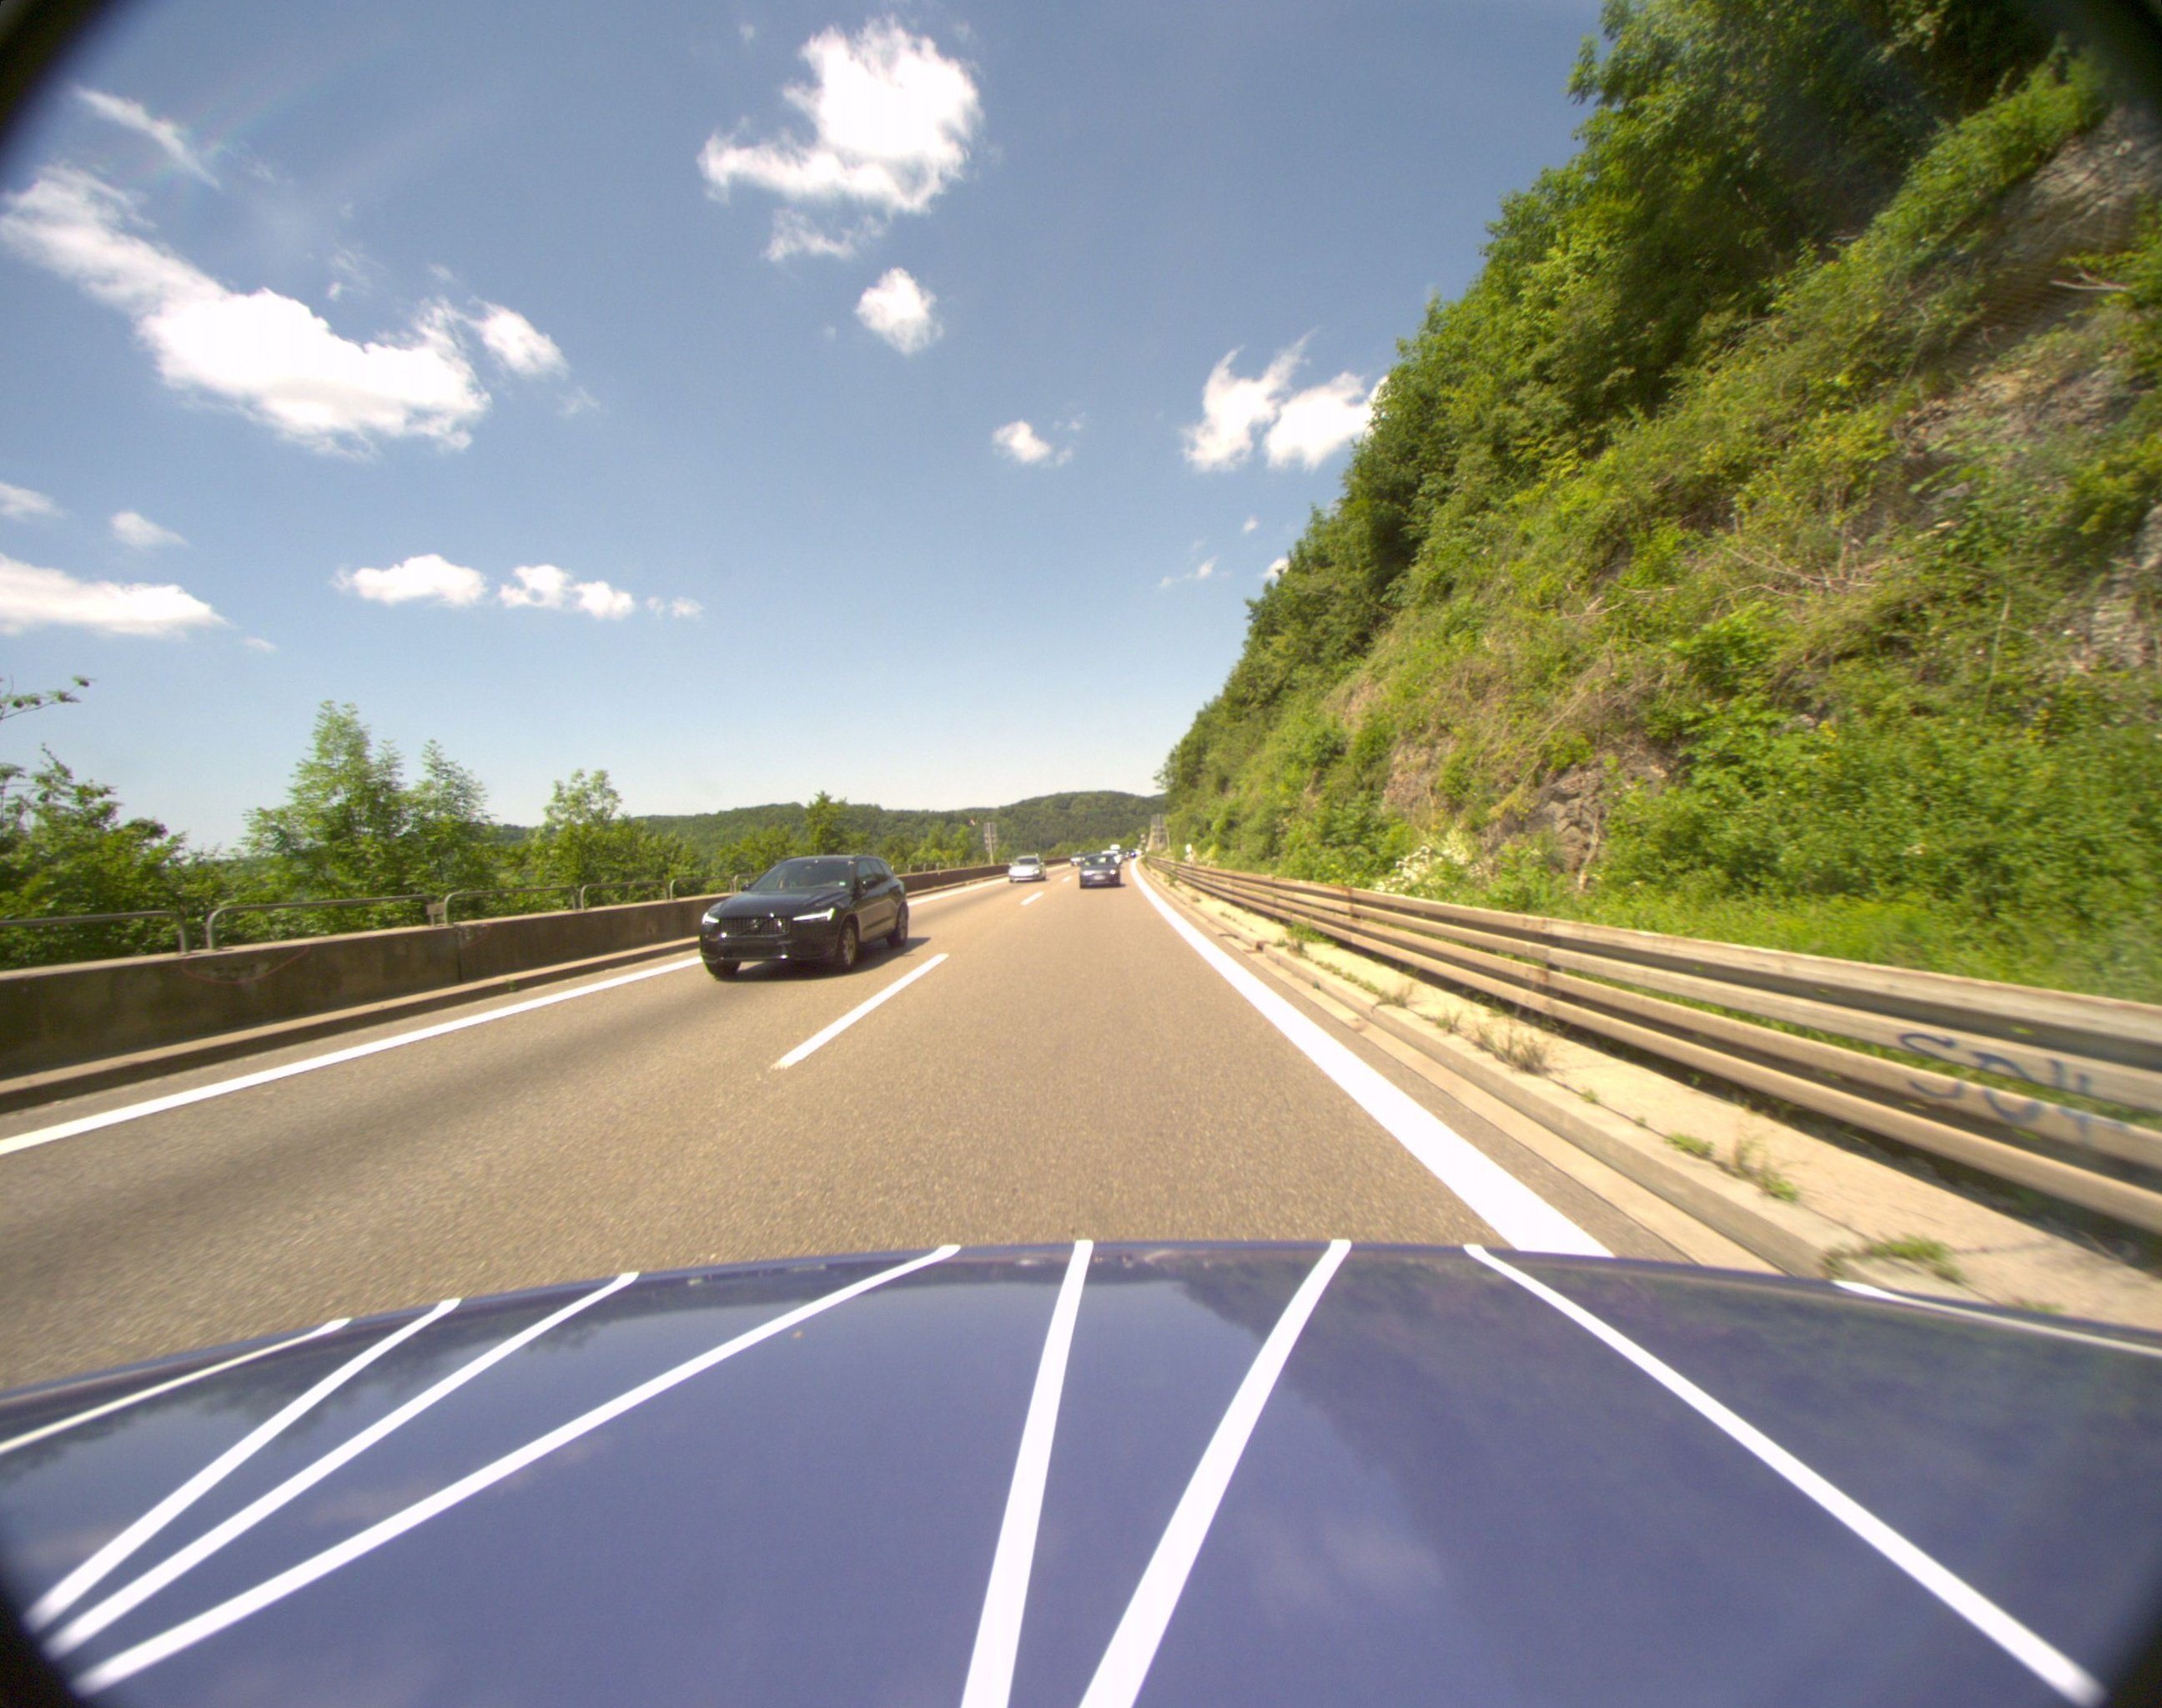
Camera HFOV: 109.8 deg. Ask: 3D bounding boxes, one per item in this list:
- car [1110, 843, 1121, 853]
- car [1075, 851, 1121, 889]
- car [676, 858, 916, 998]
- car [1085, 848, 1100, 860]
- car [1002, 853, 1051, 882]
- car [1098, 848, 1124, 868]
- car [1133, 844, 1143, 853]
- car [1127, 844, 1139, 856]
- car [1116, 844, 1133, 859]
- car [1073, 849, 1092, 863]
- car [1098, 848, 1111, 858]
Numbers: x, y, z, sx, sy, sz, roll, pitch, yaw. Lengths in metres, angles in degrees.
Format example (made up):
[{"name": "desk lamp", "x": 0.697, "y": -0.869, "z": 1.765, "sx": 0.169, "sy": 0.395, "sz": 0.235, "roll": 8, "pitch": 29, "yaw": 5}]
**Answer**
[{"name": "car", "x": 7.854, "y": -1.373, "z": 172.261, "sx": 1.998, "sy": 2.002, "sz": 4.001, "roll": -2, "pitch": 1, "yaw": 6}, {"name": "car", "x": 0.781, "y": 0.623, "z": 32.386, "sx": 1.668, "sy": 1.415, "sz": 4.044, "roll": -1, "pitch": 2, "yaw": 5}, {"name": "car", "x": -4.042, "y": 0.933, "z": 11.747, "sx": 1.839, "sy": 1.624, "sz": 4.662, "roll": -2, "pitch": 0, "yaw": 1}, {"name": "car", "x": 1.586, "y": 0.002, "z": 105.770, "sx": 1.775, "sy": 1.565, "sz": 4.001, "roll": -2, "pitch": 1, "yaw": 4}, {"name": "car", "x": -2.995, "y": 0.745, "z": 42.919, "sx": 1.971, "sy": 1.370, "sz": 4.295, "roll": 3, "pitch": 2, "yaw": 6}, {"name": "car", "x": 2.471, "y": 0.282, "z": 63.686, "sx": 1.998, "sy": 1.543, "sz": 3.999, "roll": -2, "pitch": 1, "yaw": 0}, {"name": "car", "x": 13.346, "y": -1.385, "z": 178.050, "sx": 1.997, "sy": 2.002, "sz": 4.002, "roll": -2, "pitch": 1, "yaw": 10}, {"name": "car", "x": 8.858, "y": -0.688, "z": 129.071, "sx": 1.998, "sy": 2.002, "sz": 4.001, "roll": -2, "pitch": 1, "yaw": 4}, {"name": "car", "x": 5.857, "y": -0.348, "z": 102.137, "sx": 1.998, "sy": 2.002, "sz": 4.000, "roll": -2, "pitch": 1, "yaw": 1}, {"name": "car", "x": 0.188, "y": 0.203, "z": 87.637, "sx": 1.875, "sy": 1.565, "sz": 4.001, "roll": -2, "pitch": 1, "yaw": 5}, {"name": "car", "x": 3.885, "y": -0.247, "z": 125.109, "sx": 1.775, "sy": 1.565, "sz": 4.001, "roll": -2, "pitch": 1, "yaw": 6}]
